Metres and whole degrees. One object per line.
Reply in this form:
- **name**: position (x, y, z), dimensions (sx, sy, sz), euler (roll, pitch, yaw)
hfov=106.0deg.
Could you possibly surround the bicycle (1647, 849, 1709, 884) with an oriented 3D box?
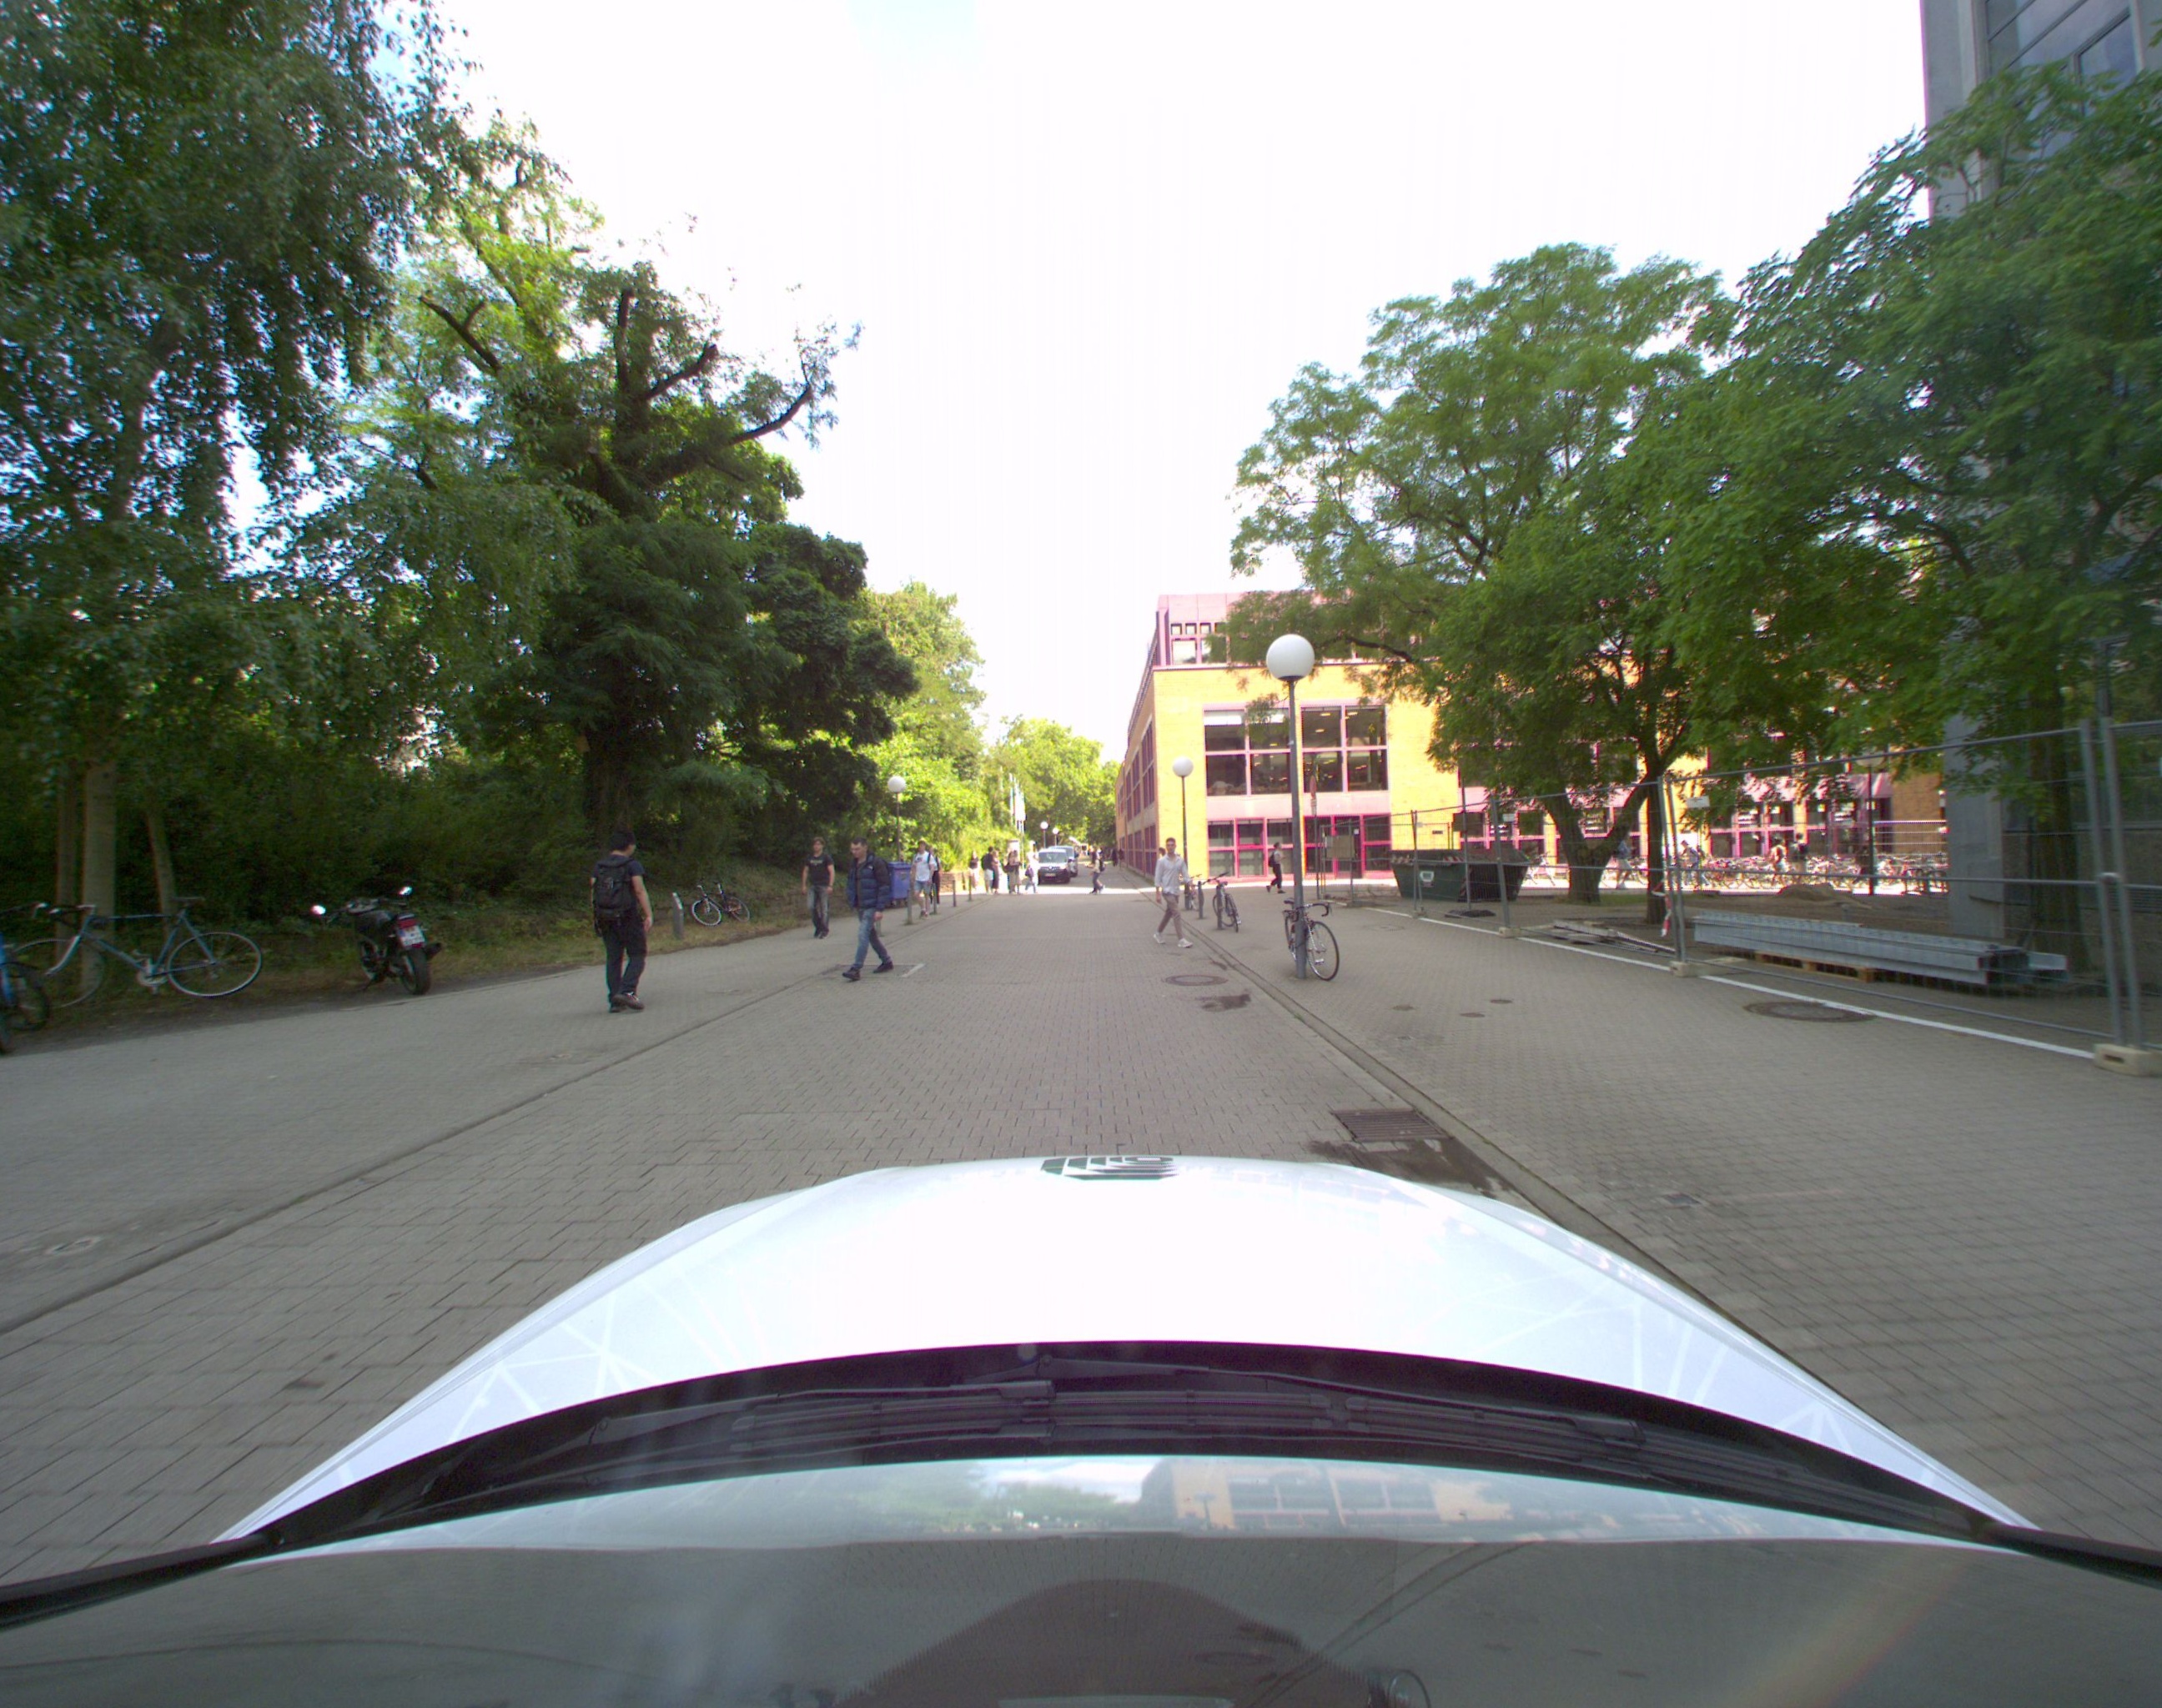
- **bicycle**: position (20.666, 0.429, 28.185), dimensions (1.799, 1.169, 0.474), euler (0, 0, 1)

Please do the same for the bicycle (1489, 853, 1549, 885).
- **bicycle**: position (15.435, 0.533, 28.699), dimensions (1.801, 1.110, 0.524), euler (0, 0, 4)

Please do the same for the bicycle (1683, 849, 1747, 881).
- **bicycle**: position (23.143, 0.403, 29.755), dimensions (1.990, 1.169, 0.474), euler (0, 0, -1)

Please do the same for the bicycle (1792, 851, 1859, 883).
- **bicycle**: position (27.387, 0.489, 29.962), dimensions (1.990, 1.169, 0.545), euler (0, 0, -1)

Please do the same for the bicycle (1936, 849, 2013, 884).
- **bicycle**: position (29.722, 0.413, 27.095), dimensions (1.990, 1.169, 0.545), euler (0, 0, -1)

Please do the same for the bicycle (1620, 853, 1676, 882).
- **bicycle**: position (23.152, 0.531, 33.256), dimensions (1.990, 1.169, 0.474), euler (0, 0, -1)

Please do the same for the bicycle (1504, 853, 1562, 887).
- **bicycle**: position (15.289, 0.538, 27.577), dimensions (1.686, 1.110, 0.474), euler (0, 0, 4)

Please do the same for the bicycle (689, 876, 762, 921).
- **bicycle**: position (-7.552, 0.926, 17.376), dimensions (0.418, 0.910, 1.747), euler (-1, -2, 16)

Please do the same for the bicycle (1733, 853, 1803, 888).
- **bicycle**: position (23.232, 0.553, 27.564), dimensions (1.990, 1.169, 0.474), euler (0, 0, -1)

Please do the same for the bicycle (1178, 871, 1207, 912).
- **bicycle**: position (2.881, 0.945, 21.092), dimensions (0.449, 0.962, 1.740), euler (-4, 0, 0)

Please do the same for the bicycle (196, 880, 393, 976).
- **bicycle**: position (-9.744, 0.872, 10.182), dimensions (0.468, 1.047, 1.709), euler (0, 0, 22)

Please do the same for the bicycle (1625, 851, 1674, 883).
- **bicycle**: position (21.115, 0.464, 30.262), dimensions (1.810, 1.169, 0.471), euler (0, 0, -16)

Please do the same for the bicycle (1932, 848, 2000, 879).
- **bicycle**: position (33.072, 0.355, 30.453), dimensions (1.990, 1.169, 0.545), euler (0, 0, -1)

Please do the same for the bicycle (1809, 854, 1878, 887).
- **bicycle**: position (27.423, 0.589, 29.316), dimensions (1.990, 1.169, 0.545), euler (0, 0, -1)

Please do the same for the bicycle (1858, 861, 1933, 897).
- **bicycle**: position (27.201, 0.830, 27.213), dimensions (1.990, 1.169, 0.545), euler (0, 0, -1)

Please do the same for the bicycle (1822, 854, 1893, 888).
- **bicycle**: position (27.156, 0.600, 28.478), dimensions (1.990, 1.169, 0.545), euler (0, 0, -1)

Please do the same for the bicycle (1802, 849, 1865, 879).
- **bicycle**: position (29.680, 0.394, 32.136), dimensions (1.990, 1.169, 0.545), euler (0, 0, -1)

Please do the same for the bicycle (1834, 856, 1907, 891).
- **bicycle**: position (27.000, 0.654, 27.877), dimensions (1.990, 1.169, 0.545), euler (0, 0, -1)

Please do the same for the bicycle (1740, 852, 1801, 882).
- **bicycle**: position (27.461, 0.521, 32.454), dimensions (1.990, 1.169, 0.545), euler (0, 0, -1)

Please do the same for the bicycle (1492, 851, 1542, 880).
- **bicycle**: position (17.432, 0.462, 32.541), dimensions (1.803, 1.110, 0.473), euler (0, 0, -6)

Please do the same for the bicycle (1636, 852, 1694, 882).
- **bicycle**: position (23.127, 0.518, 32.285), dimensions (1.990, 1.169, 0.474), euler (0, 0, -1)

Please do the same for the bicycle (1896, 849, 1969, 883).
- **bicycle**: position (29.641, 0.406, 28.369), dimensions (1.990, 1.169, 0.545), euler (0, 0, -1)

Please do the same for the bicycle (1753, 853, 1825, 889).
- **bicycle**: position (23.407, 0.568, 26.936), dimensions (1.990, 1.169, 0.474), euler (0, 0, -1)

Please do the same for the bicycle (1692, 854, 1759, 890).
- **bicycle**: position (21.335, 0.594, 26.979), dimensions (1.798, 1.169, 0.474), euler (0, 0, 4)

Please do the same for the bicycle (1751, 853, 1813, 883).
- **bicycle**: position (27.269, 0.541, 31.689), dimensions (1.990, 1.169, 0.545), euler (0, 0, -1)

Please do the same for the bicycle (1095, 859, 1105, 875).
- **bicycle**: position (1.327, 0.919, 57.344), dimensions (0.585, 1.083, 1.906), euler (-1, 0, -2)

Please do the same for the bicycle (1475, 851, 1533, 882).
- **bicycle**: position (15.237, 0.440, 29.363), dimensions (1.803, 1.110, 0.523), euler (0, 0, 0)

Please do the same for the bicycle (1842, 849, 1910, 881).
- **bicycle**: position (29.495, 0.398, 30.223), dimensions (1.990, 1.169, 0.545), euler (0, 0, -1)

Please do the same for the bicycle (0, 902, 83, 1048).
- **bicycle**: position (-9.057, 0.980, 6.880), dimensions (0.476, 1.047, 1.680), euler (1, -1, -40)

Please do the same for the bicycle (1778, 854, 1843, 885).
- **bicycle**: position (27.359, 0.570, 30.545), dimensions (1.990, 1.169, 0.545), euler (0, 0, -1)

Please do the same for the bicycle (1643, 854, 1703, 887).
- **bicycle**: position (20.897, 0.584, 28.772), dimensions (1.801, 1.169, 0.474), euler (0, 0, -2)

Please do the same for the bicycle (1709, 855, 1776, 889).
- **bicycle**: position (23.250, 0.618, 28.641), dimensions (1.990, 1.169, 0.474), euler (0, 0, -1)

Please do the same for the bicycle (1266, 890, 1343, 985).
- **bicycle**: position (2.645, 0.948, 9.778), dimensions (0.394, 0.936, 1.732), euler (-4, 0, 0)

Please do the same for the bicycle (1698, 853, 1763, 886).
- **bicycle**: position (23.300, 0.566, 29.227), dimensions (1.990, 1.169, 0.474), euler (0, 0, -1)
